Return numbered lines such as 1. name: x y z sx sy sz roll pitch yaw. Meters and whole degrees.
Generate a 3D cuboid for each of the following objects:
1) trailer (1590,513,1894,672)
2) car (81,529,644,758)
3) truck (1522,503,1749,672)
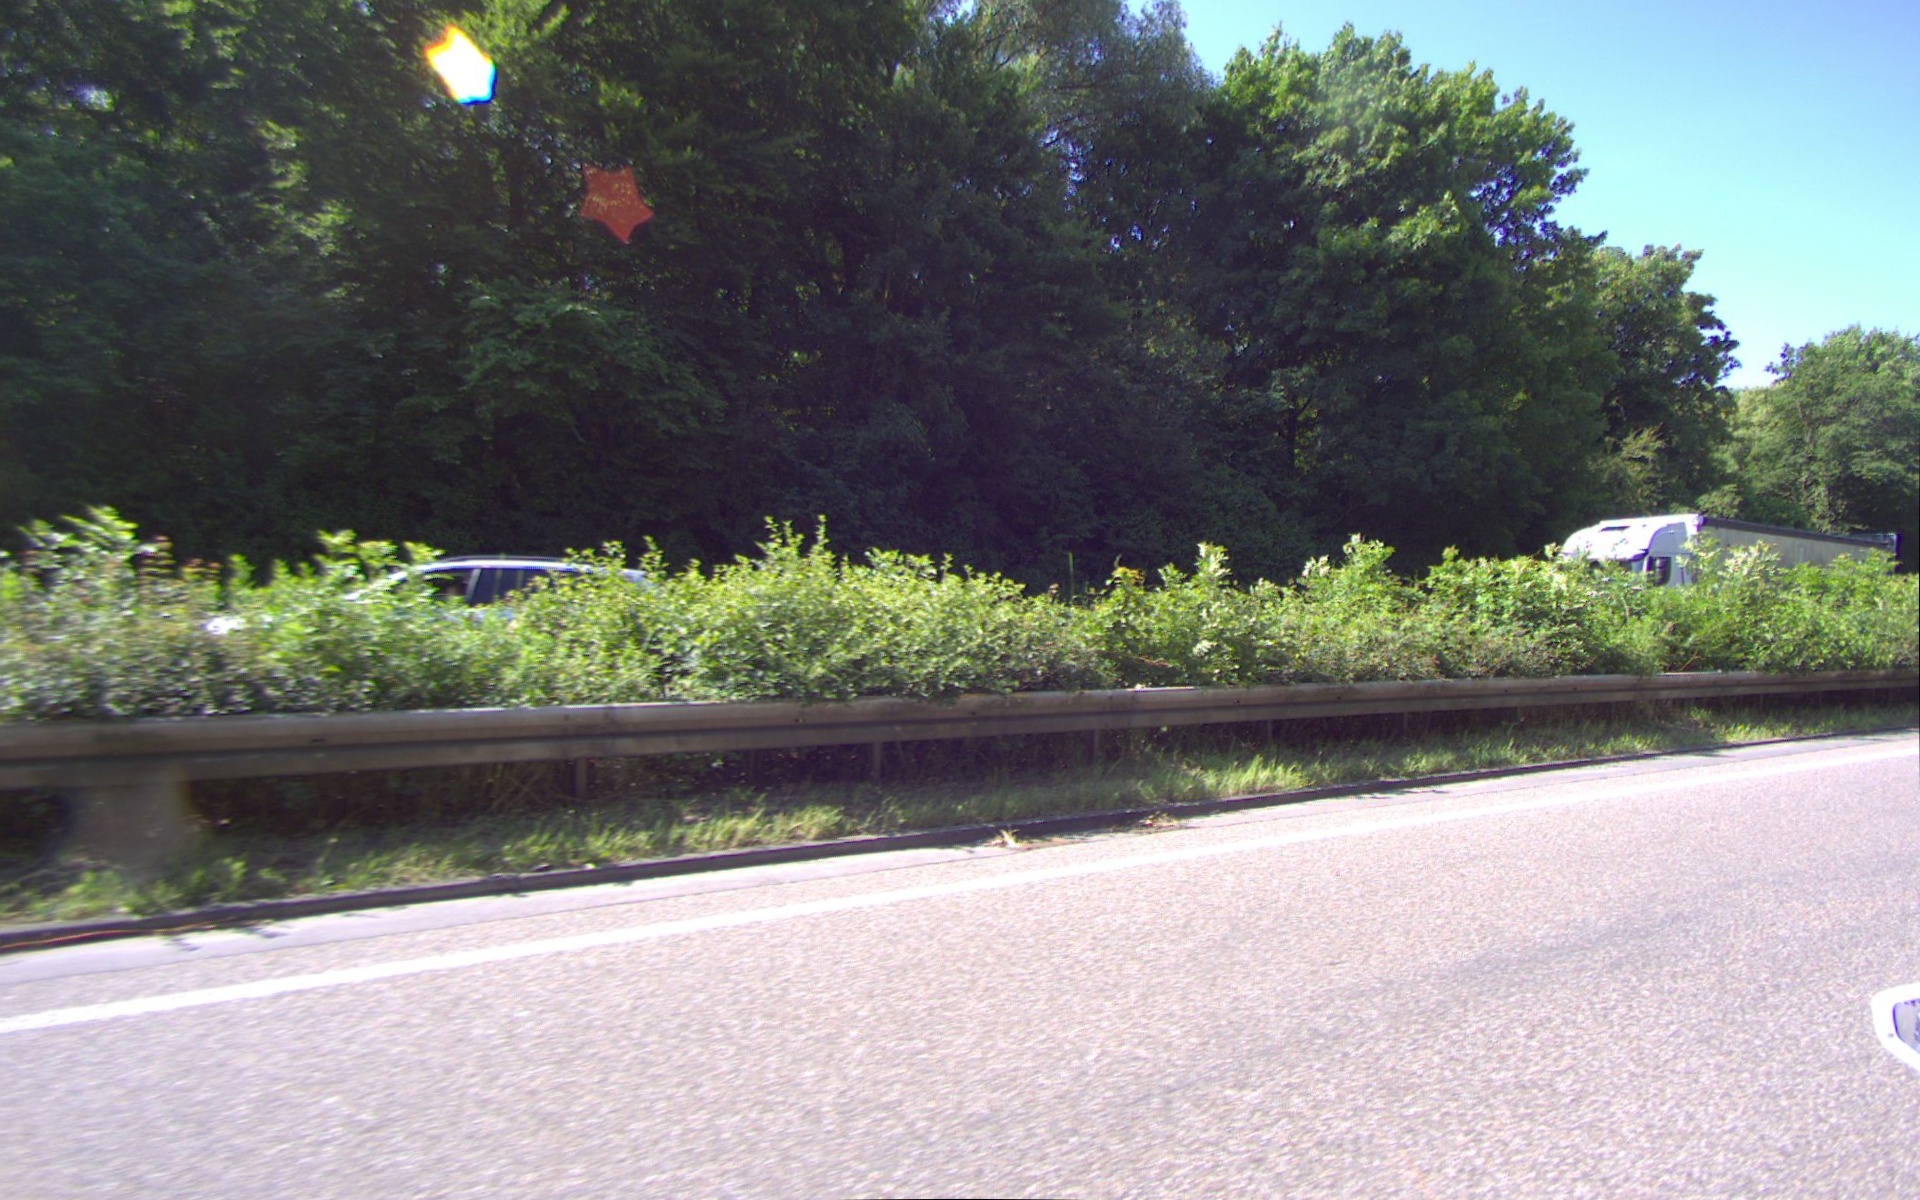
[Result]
1. trailer: 25.359 -0.012 32.148 13.504 4.357 2.815 2 0 -31
2. car: -5.375 0.373 9.497 4.242 1.728 1.595 2 0 -37
3. truck: 19.165 -0.245 28.426 6.460 4.300 2.704 2 0 -30
